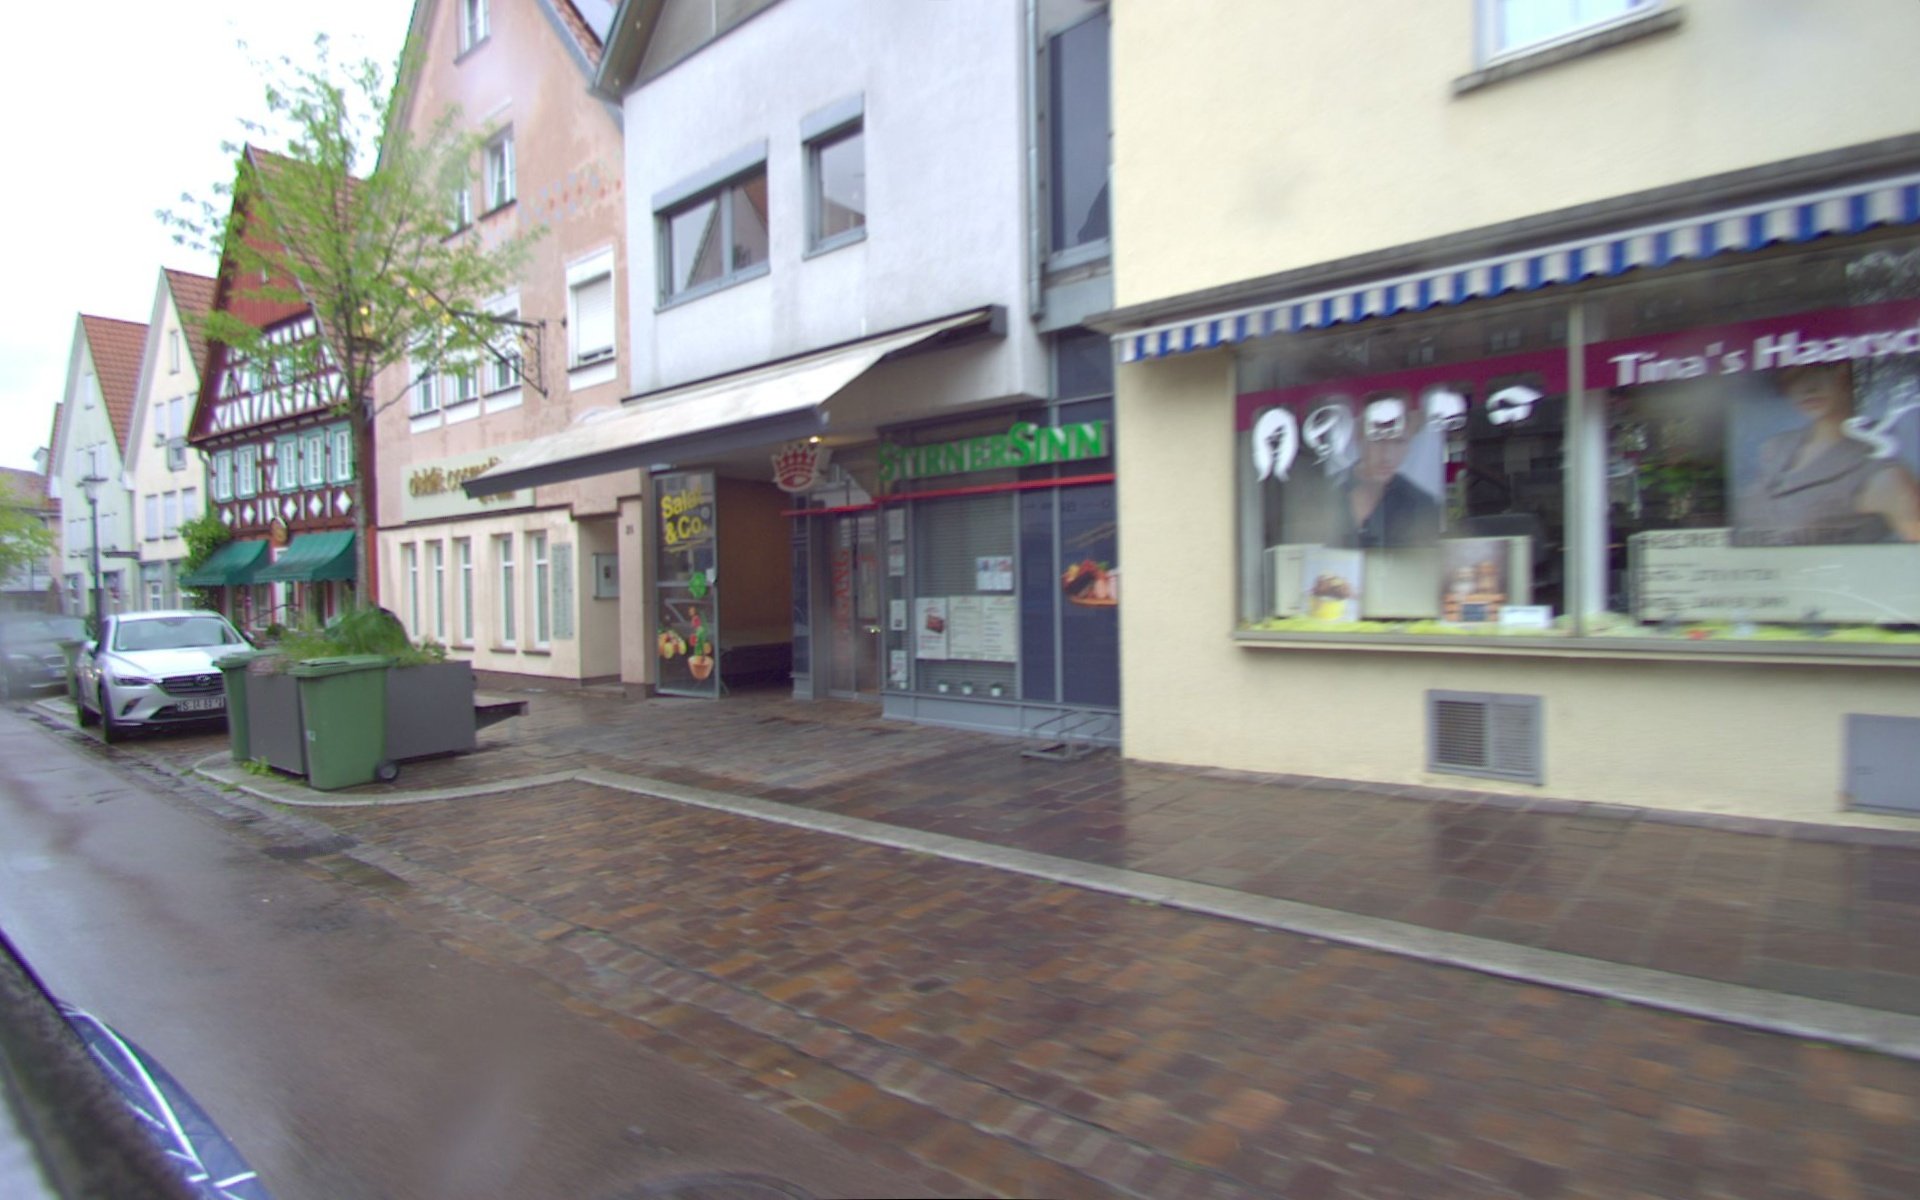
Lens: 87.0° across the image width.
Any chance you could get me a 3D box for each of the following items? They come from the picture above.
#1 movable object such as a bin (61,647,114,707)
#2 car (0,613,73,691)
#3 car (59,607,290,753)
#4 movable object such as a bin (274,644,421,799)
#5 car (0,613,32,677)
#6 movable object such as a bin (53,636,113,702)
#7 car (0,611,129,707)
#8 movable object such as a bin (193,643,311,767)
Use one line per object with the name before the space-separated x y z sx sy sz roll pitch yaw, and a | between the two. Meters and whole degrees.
movable object such as a bin | -15.118 1.329 17.542 0.562 0.962 0.649 0 1 44
car | -23.225 1.204 24.662 4.538 1.687 1.814 0 1 41
car | -10.485 0.913 13.405 4.000 1.578 1.807 0 1 43
movable object such as a bin | -5.031 0.964 8.333 0.609 1.114 0.807 0 4 37
car | -28.532 1.302 29.552 4.480 1.687 1.752 0 2 43
movable object such as a bin | -15.619 1.217 18.019 0.764 1.090 0.739 0 1 44
car | -18.512 1.097 20.471 4.279 1.563 1.815 0 4 41
movable object such as a bin | -7.008 1.010 10.028 0.609 1.114 0.807 0 1 37
